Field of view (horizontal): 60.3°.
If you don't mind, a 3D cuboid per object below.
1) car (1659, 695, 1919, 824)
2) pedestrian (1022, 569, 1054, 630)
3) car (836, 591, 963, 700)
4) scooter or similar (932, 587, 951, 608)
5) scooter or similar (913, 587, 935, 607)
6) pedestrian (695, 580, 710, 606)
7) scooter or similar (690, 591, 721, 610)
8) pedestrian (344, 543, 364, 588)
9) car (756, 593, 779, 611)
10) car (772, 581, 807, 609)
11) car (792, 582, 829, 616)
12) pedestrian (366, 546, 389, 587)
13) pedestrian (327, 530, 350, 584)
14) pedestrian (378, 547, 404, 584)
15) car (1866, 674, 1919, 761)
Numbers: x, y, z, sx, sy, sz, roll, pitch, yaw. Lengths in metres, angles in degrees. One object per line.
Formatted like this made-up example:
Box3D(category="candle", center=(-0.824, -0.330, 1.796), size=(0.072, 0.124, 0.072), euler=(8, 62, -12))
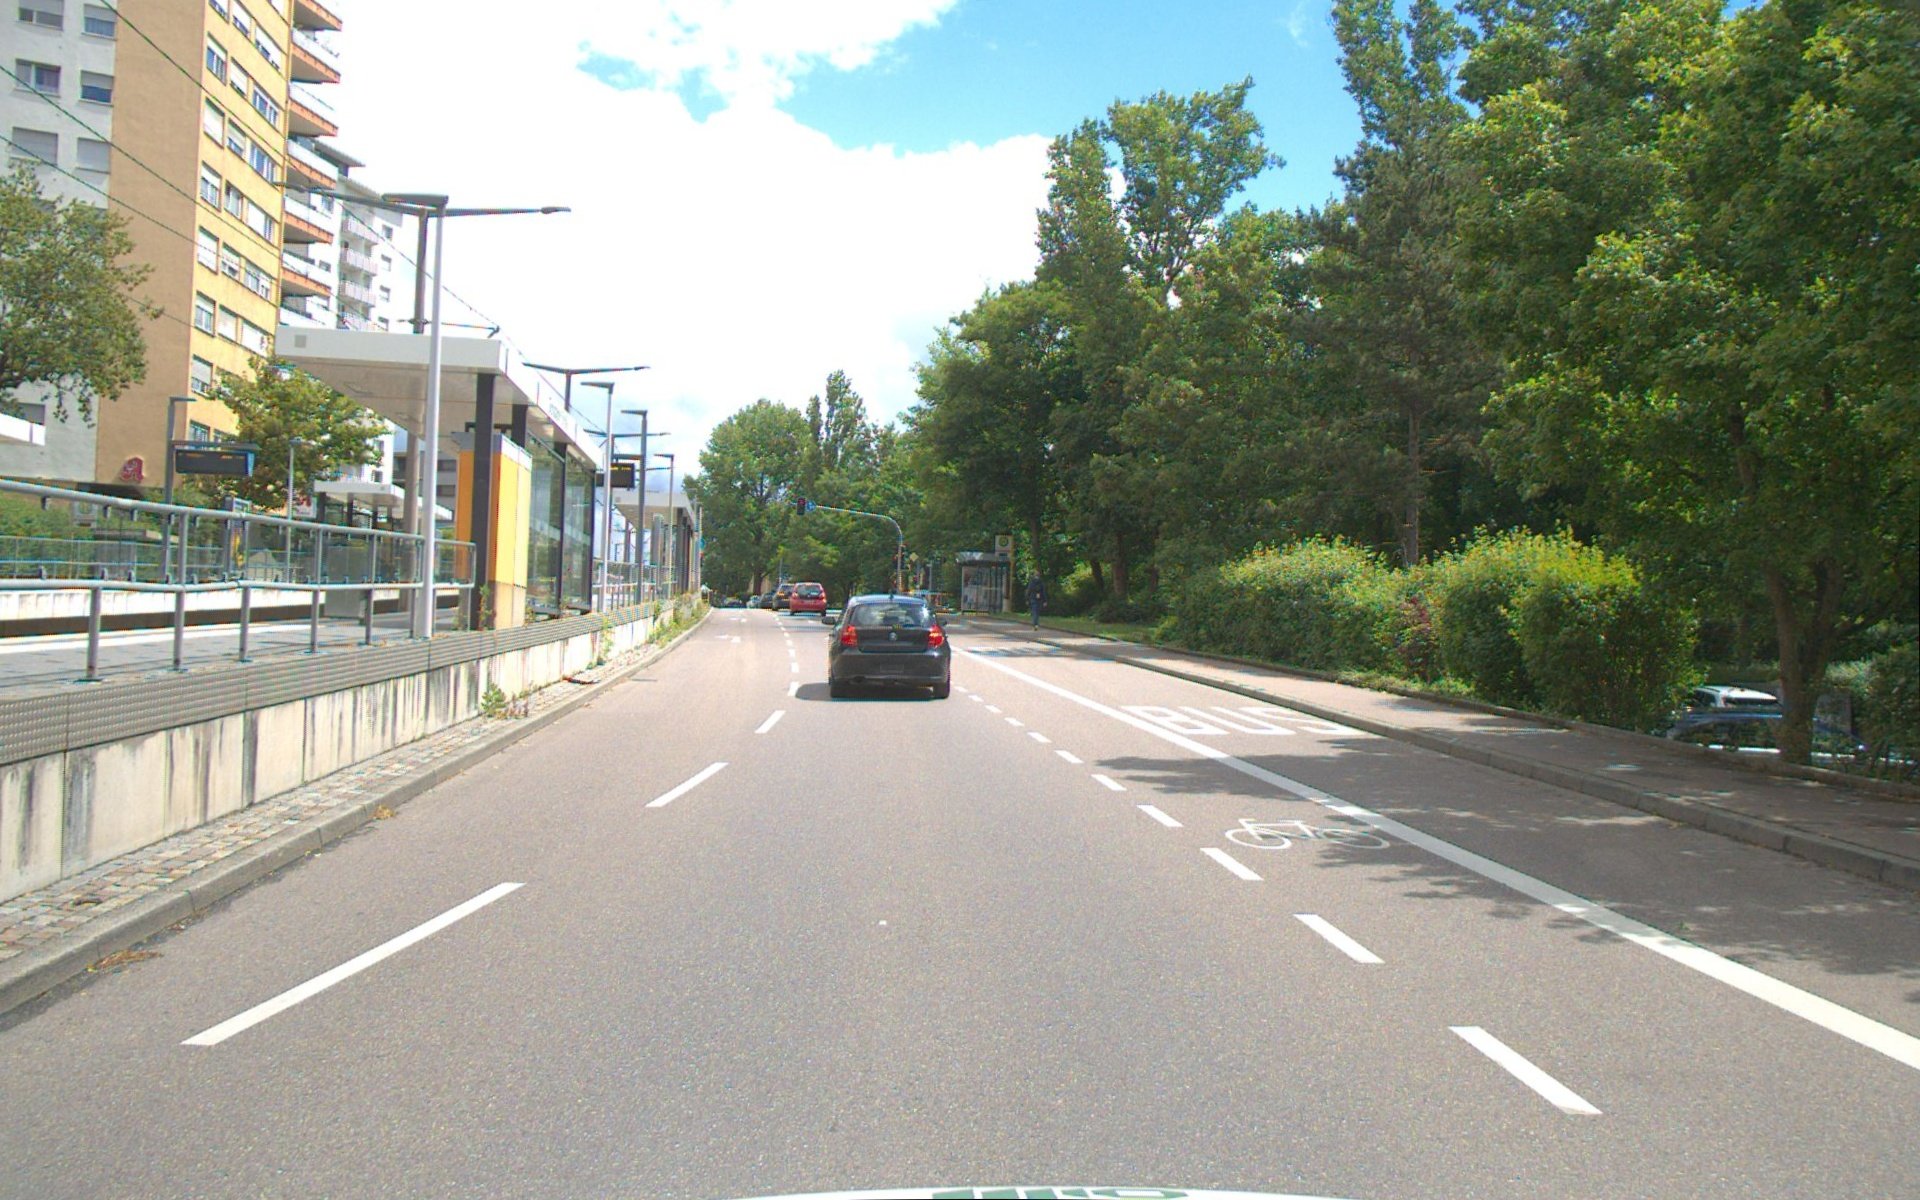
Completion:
Box3D(category="car", center=(11.409, 2.139, 22.410), size=(3.190, 1.516, 1.572), euler=(1, 0, -1))
Box3D(category="pedestrian", center=(2.525, -0.029, 53.859), size=(0.786, 1.928, 1.269), euler=(2, 0, -7))
Box3D(category="car", center=(-0.948, 0.611, 24.174), size=(1.622, 1.443, 3.513), euler=(1, 0, -6))
Box3D(category="scooter or similar", center=(-1.153, -0.170, 101.938), size=(1.090, 1.280, 0.330), euler=(1, 0, -20))
Box3D(category="scooter or similar", center=(-2.199, -0.162, 101.024), size=(1.270, 1.210, 0.382), euler=(1, 0, -23))
Box3D(category="pedestrian", center=(-14.736, -0.376, 94.752), size=(0.849, 1.468, 0.797), euler=(1, 0, -10))
Box3D(category="scooter or similar", center=(-14.504, 0.051, 94.258), size=(1.762, 1.069, 0.406), euler=(0, 0, -31))
Box3D(category="pedestrian", center=(-19.203, -1.089, 52.406), size=(0.533, 1.404, 0.519), euler=(1, -3, -16))
Box3D(category="car", center=(-16.298, 0.155, 140.095), size=(1.621, 1.443, 3.515), euler=(2, 0, -3))
Box3D(category="car", center=(-9.039, -0.265, 87.386), size=(1.624, 1.443, 3.510), euler=(1, 0, -9))
Box3D(category="car", center=(-6.712, -0.059, 74.150), size=(1.564, 1.443, 3.512), euler=(1, 0, -7))
Box3D(category="pedestrian", center=(-19.758, -1.133, 56.124), size=(0.631, 1.393, 0.506), euler=(1, 0, -7))
Box3D(category="pedestrian", center=(-19.443, -1.331, 51.774), size=(0.516, 1.673, 0.556), euler=(1, 0, -40))
Box3D(category="pedestrian", center=(-19.621, -1.179, 57.054), size=(0.728, 1.258, 0.517), euler=(1, 0, -7))
Box3D(category="car", center=(20.053, 2.421, 32.901), size=(1.787, 1.646, 3.999), euler=(2, 0, -1))
